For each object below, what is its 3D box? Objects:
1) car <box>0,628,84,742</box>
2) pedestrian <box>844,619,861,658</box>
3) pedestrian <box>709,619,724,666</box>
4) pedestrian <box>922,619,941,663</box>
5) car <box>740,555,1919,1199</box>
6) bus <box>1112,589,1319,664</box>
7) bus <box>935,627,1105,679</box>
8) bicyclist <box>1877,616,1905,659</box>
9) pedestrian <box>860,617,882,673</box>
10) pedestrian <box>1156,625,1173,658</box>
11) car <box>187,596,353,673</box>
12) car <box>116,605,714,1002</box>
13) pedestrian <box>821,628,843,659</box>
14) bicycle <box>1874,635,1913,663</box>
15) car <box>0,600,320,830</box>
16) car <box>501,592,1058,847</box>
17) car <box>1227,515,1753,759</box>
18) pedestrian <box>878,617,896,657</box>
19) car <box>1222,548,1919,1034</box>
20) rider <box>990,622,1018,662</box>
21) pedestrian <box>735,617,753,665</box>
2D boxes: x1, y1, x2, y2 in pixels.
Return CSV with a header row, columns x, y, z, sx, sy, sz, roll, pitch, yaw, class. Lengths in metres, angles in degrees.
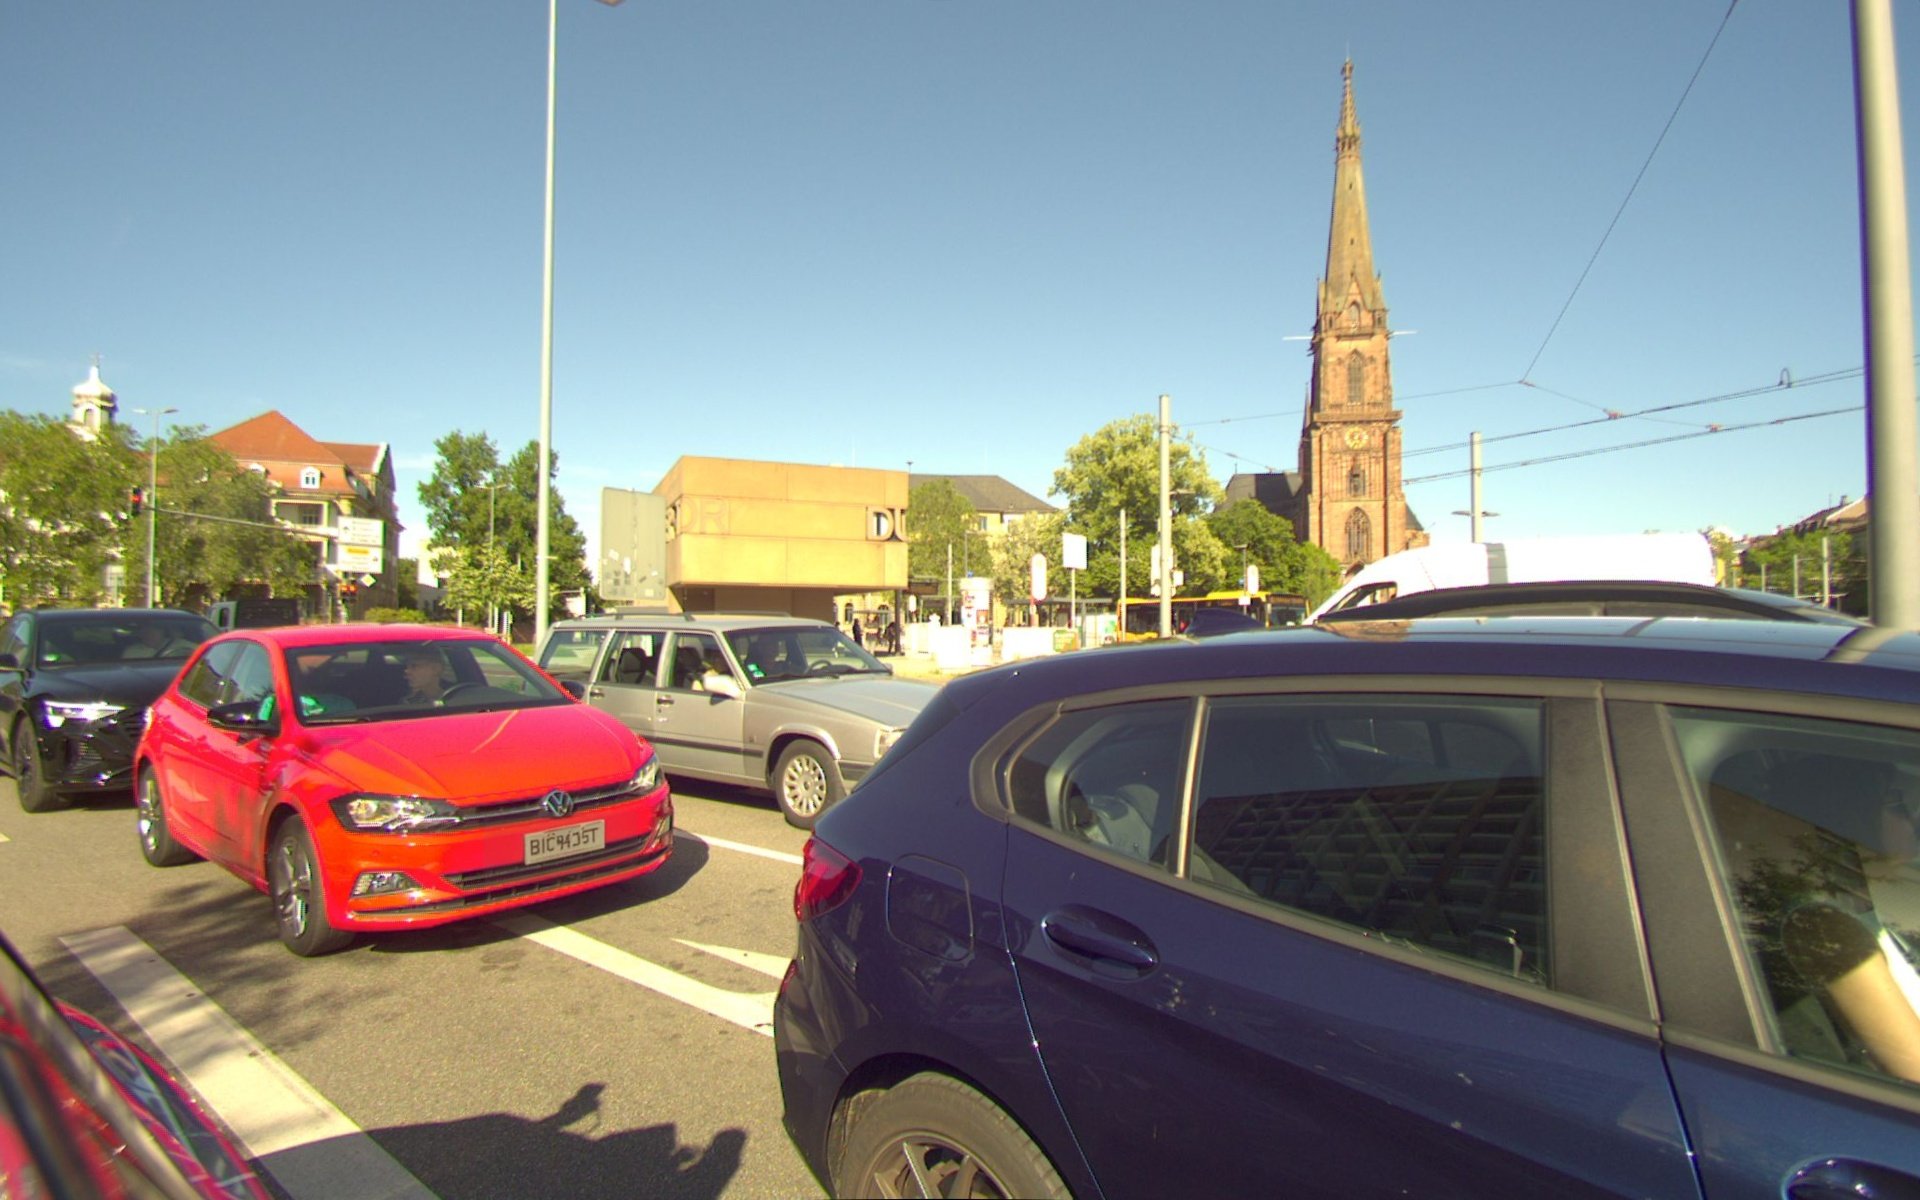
x,y,z,sx,sy,sz,roll,pitch,yaw,class
-13.652,1.119,13.913,3.704,1.429,1.557,-1,-1,35,car
-4.927,1.773,46.490,0.468,1.789,0.638,-2,-2,36,pedestrian
-9.297,1.606,38.593,0.460,1.789,0.648,0,-2,-21,pedestrian
-1.149,1.650,40.991,0.634,1.789,0.470,1,-2,-29,pedestrian
1.620,0.681,1.335,4.030,1.456,1.692,-1,-1,42,car
11.626,1.320,48.107,2.715,3.088,12.201,1,-2,-23,bus
1.498,1.324,26.174,4.174,1.251,1.627,-1,-2,35,bus
38.057,1.543,41.379,0.675,1.725,0.612,-1,-2,27,bicyclist
-2.891,1.445,32.864,0.658,1.802,0.646,-1,-1,-1,pedestrian
9.768,1.961,48.261,0.571,1.525,0.520,-1,-1,45,pedestrian
-22.664,1.132,33.147,6.191,2.331,2.095,-1,-2,31,car
-3.243,0.807,5.692,3.850,1.484,1.653,-2,-1,40,car
-5.461,1.862,43.213,0.635,1.320,0.764,1,-2,-40,pedestrian
38.132,1.974,41.362,0.675,1.114,1.881,-1,-2,27,bicycle
-7.798,0.879,9.293,4.446,1.628,1.836,-1,-2,38,car
-1.687,0.805,8.219,4.746,1.484,1.692,-3,0,38,car
6.302,0.457,12.685,5.396,2.527,1.980,-1,-2,29,car
-3.240,1.636,44.985,0.468,1.789,0.638,-2,-2,36,pedestrian
3.313,0.617,4.120,4.010,1.529,1.738,-2,-2,44,car
1.634,1.550,37.364,0.658,1.475,0.864,1,-2,-30,rider
-8.155,1.536,38.236,0.635,1.789,0.618,0,-2,-8,pedestrian
